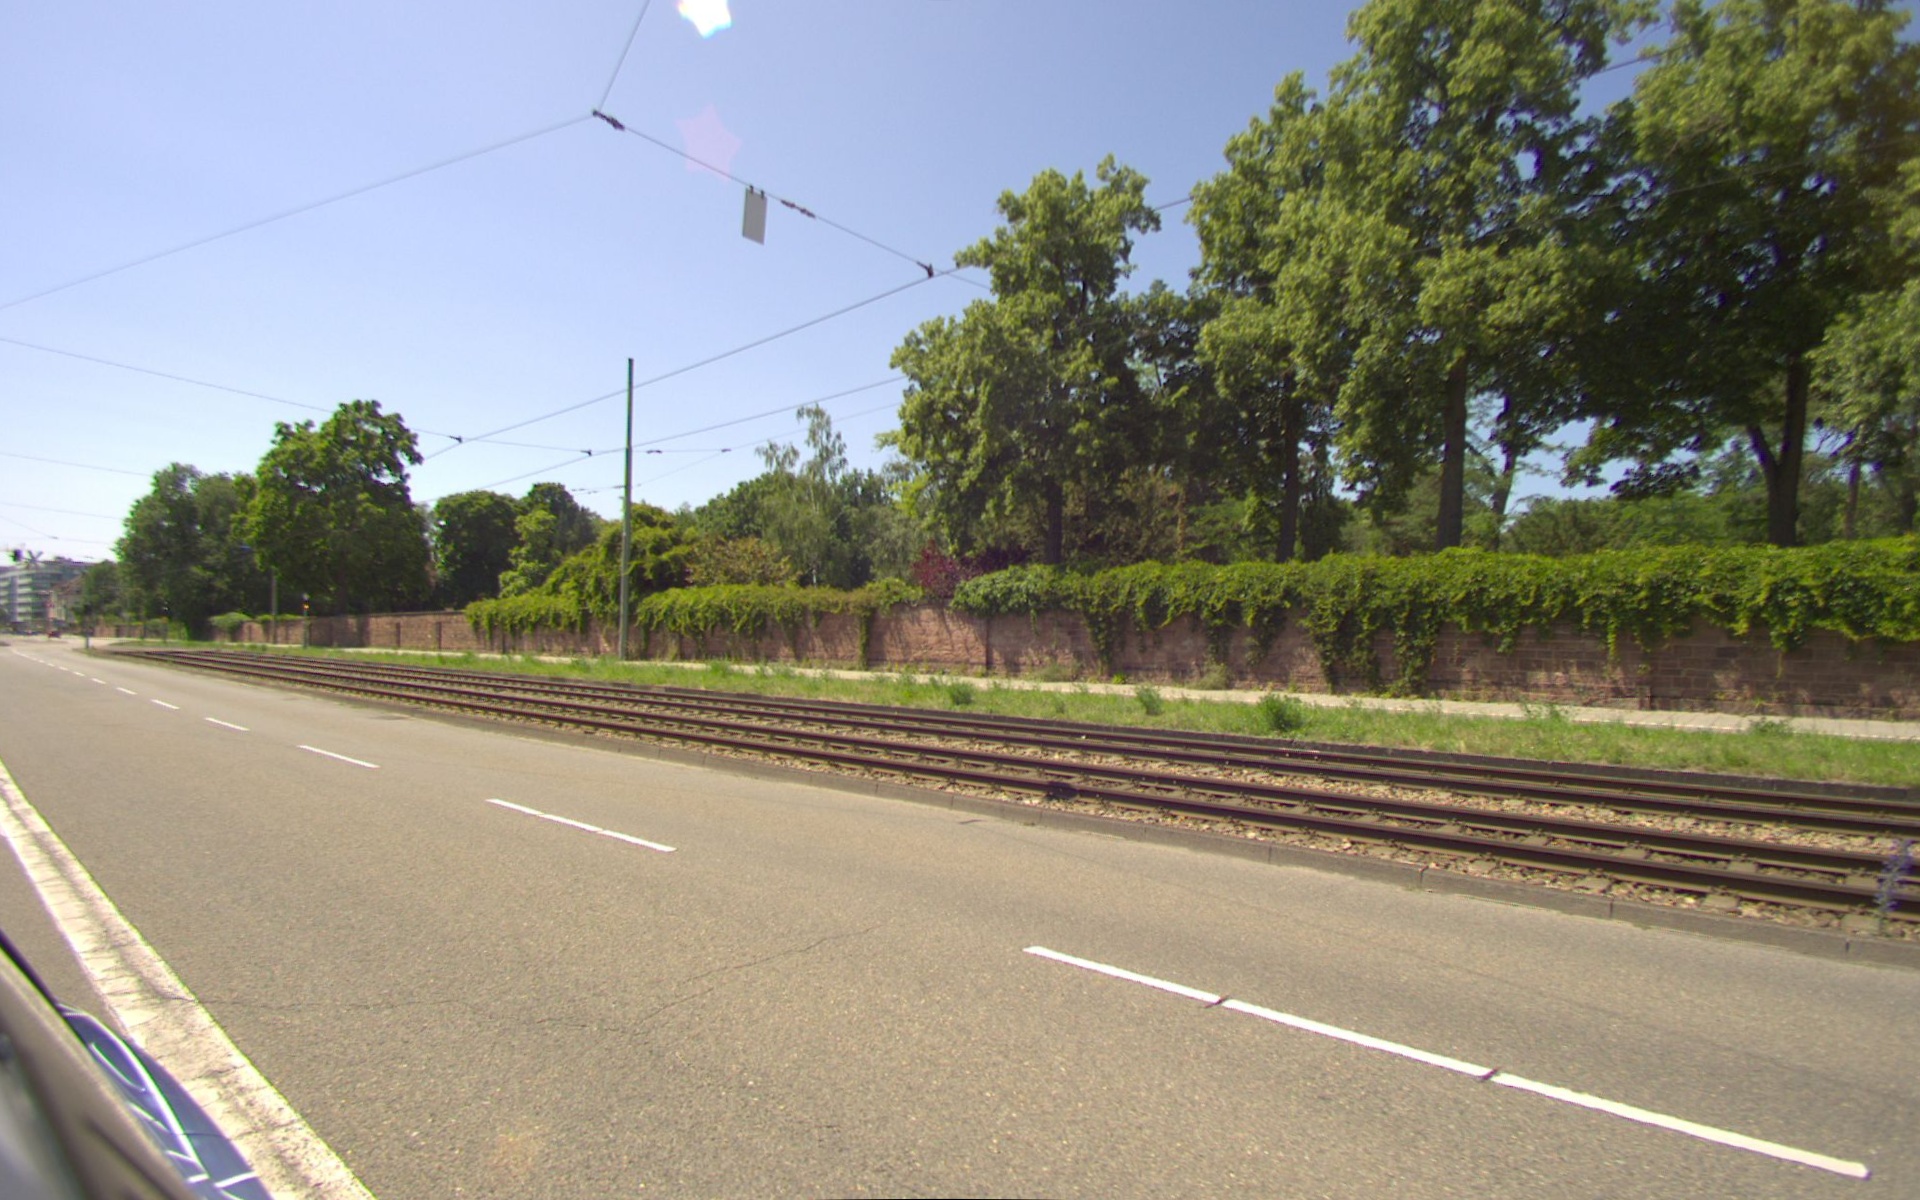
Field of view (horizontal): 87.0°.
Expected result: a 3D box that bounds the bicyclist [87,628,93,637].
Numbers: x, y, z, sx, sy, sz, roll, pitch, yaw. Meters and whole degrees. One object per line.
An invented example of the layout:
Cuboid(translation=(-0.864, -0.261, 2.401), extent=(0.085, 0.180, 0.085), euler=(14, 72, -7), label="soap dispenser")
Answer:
Cuboid(translation=(-150.863, 5.579, 175.463), extent=(0.662, 1.508, 0.645), euler=(-2, -2, 43), label="bicyclist")

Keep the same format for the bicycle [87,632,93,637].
Cuboid(translation=(-150.835, 5.997, 175.436), extent=(2.115, 0.964, 0.645), euler=(-2, -2, 43), label="bicycle")
